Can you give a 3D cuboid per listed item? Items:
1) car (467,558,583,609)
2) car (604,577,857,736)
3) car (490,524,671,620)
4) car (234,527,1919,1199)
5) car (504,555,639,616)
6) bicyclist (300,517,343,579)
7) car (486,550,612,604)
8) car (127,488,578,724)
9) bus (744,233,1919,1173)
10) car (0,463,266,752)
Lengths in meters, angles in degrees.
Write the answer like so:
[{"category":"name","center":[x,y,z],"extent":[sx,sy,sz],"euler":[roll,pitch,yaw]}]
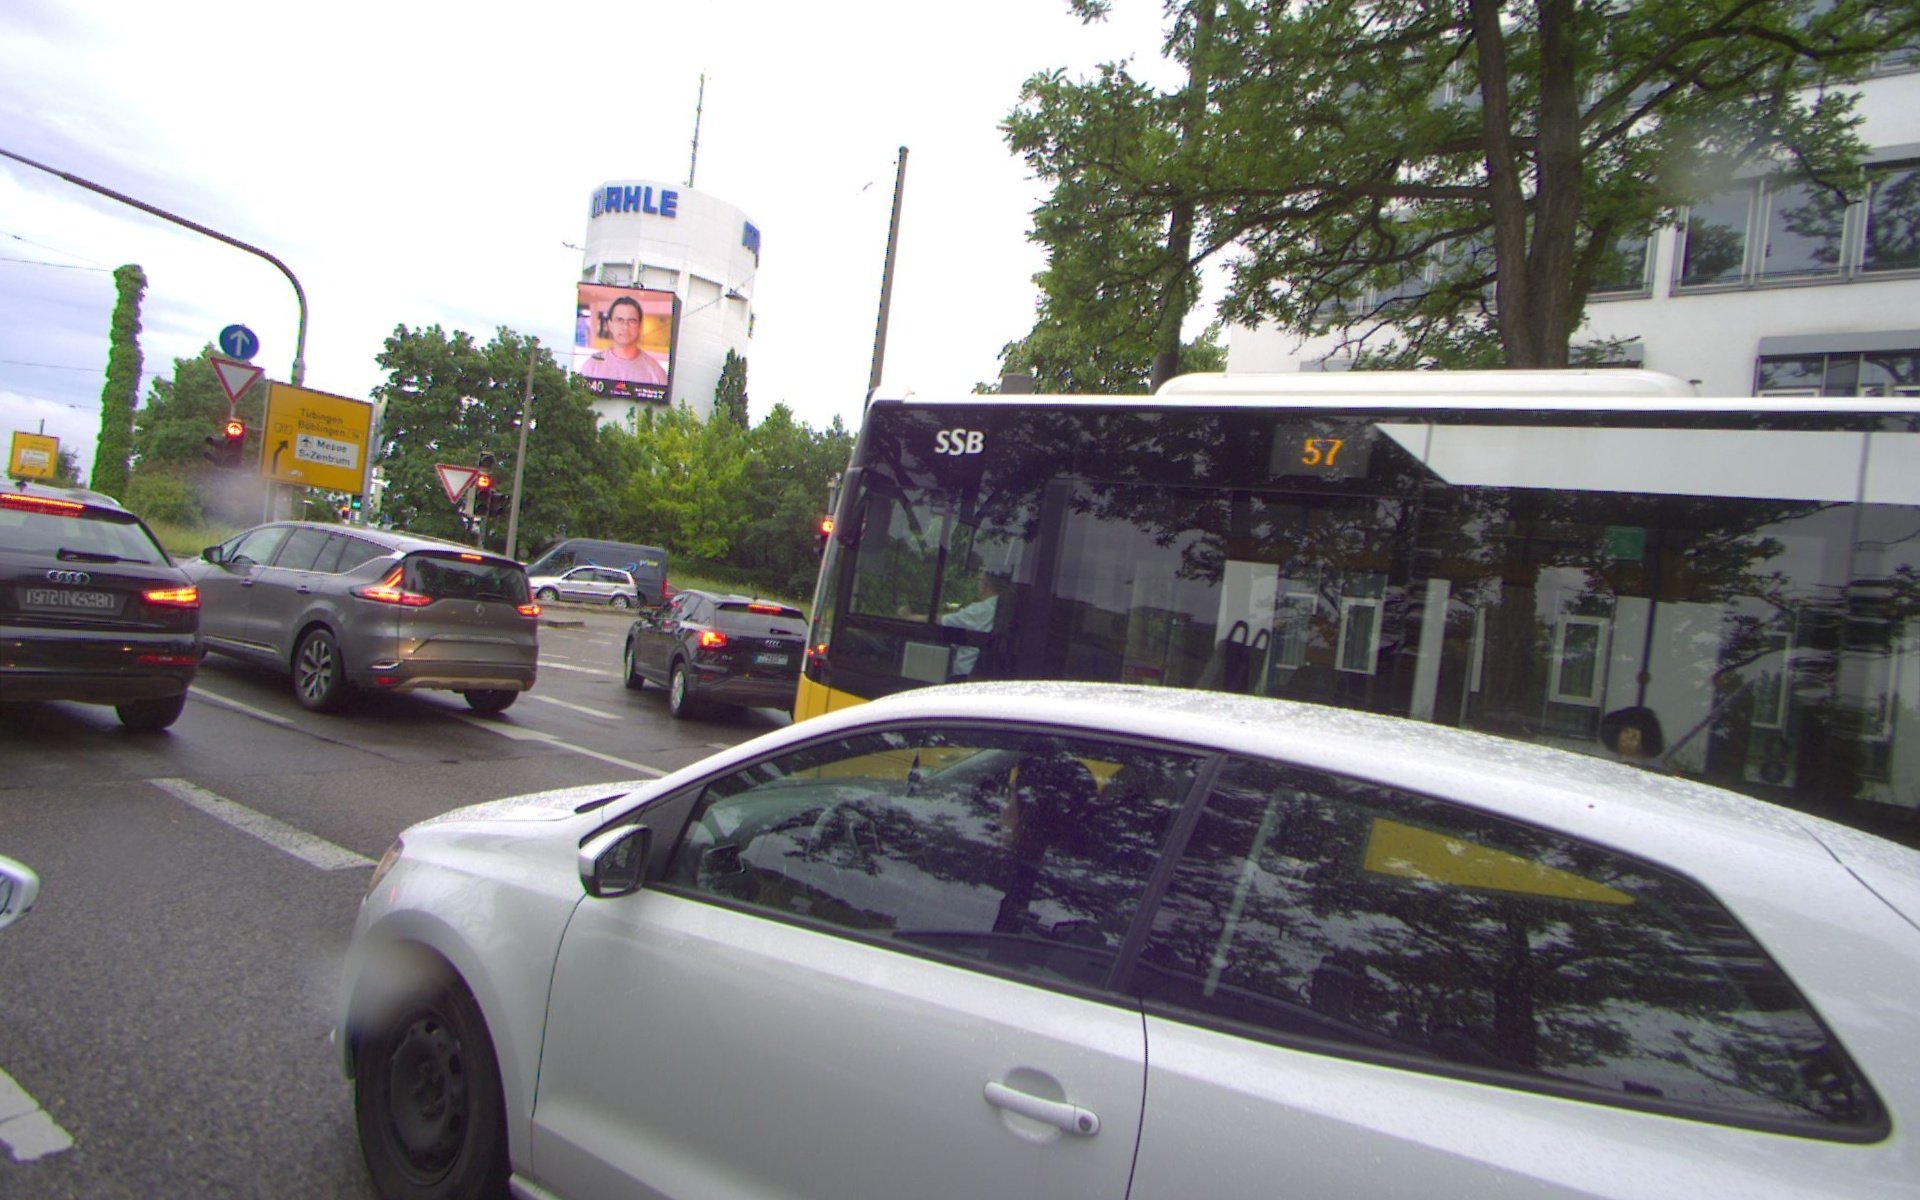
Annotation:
[{"category":"car","center":[-18.691,-0.708,43.297],"extent":[4.112,1.582,1.852],"euler":[9,-2,-38]},{"category":"car","center":[-3.161,0.648,13.171],"extent":[1.852,1.516,4.115],"euler":[7,0,-33]},{"category":"car","center":[-14.474,-0.990,38.578],"extent":[5.971,2.772,2.065],"euler":[9,-3,-32]},{"category":"car","center":[0.167,0.790,2.447],"extent":[3.749,1.447,1.745],"euler":[6,-3,33]},{"category":"car","center":[-13.695,-0.476,35.543],"extent":[4.027,1.586,1.855],"euler":[9,-4,-35]},{"category":"bicyclist","center":[-17.934,-1.450,28.280],"extent":[0.803,1.601,1.015],"euler":[9,-2,-31]},{"category":"car","center":[-16.517,-0.920,40.508],"extent":[4.343,1.537,1.714],"euler":[9,-2,-35]},{"category":"car","center":[-6.238,0.016,10.209],"extent":[4.488,1.694,1.869],"euler":[8,-1,30]},{"category":"bus","center":[4.631,0.547,4.191],"extent":[11.944,3.187,2.733],"euler":[7,-2,32]},{"category":"car","center":[-6.941,-0.097,6.960],"extent":[4.045,1.613,1.889],"euler":[6,-3,31]}]
